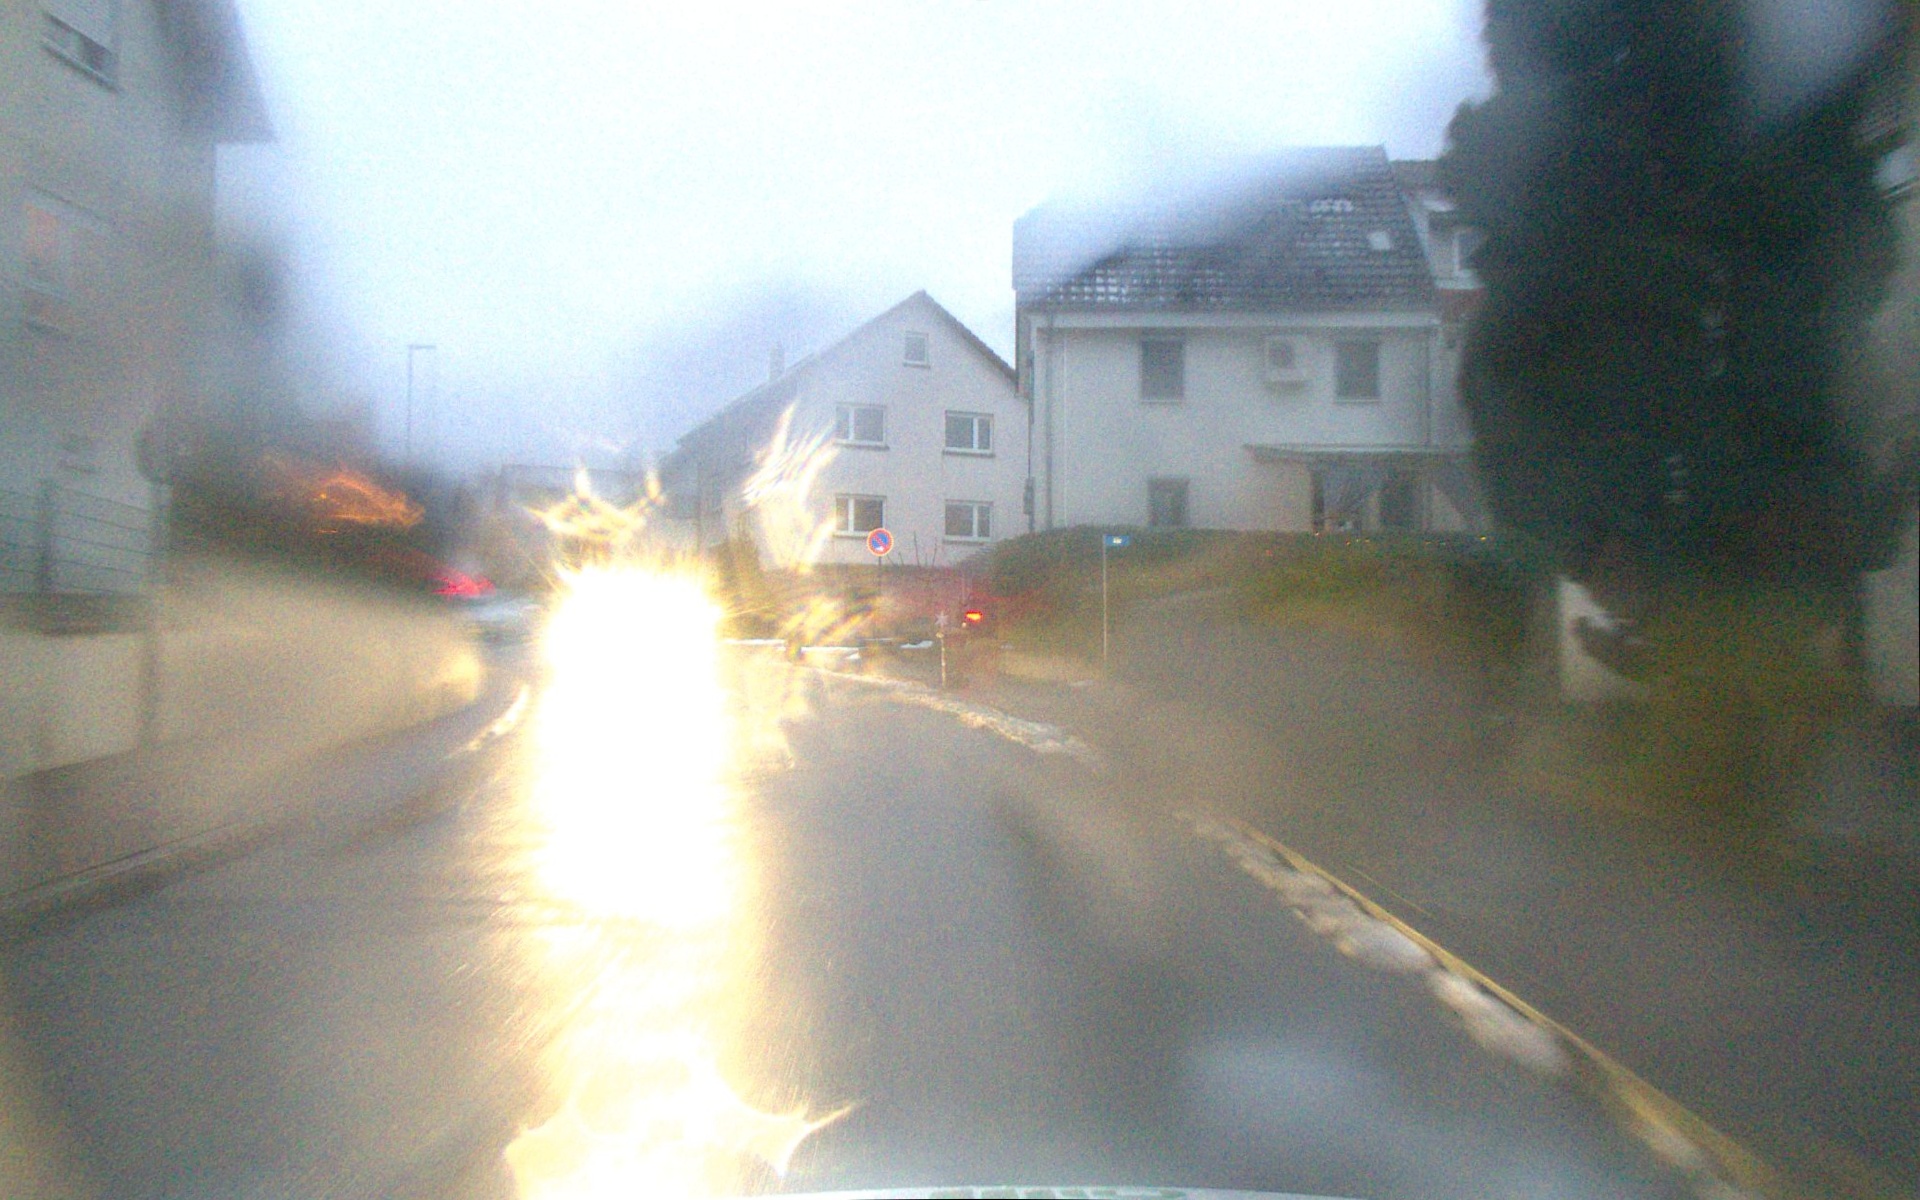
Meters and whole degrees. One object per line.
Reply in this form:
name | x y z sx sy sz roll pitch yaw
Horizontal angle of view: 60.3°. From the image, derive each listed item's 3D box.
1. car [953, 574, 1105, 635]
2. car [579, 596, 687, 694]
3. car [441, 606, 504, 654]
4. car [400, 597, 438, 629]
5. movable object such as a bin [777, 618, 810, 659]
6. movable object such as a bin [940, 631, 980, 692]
car | 1.941 0.136 47.250 3.922 1.646 1.991 1 0 -16
car | -7.393 0.964 37.798 2.070 2.062 4.974 0 0 -7
car | -15.463 0.921 52.357 1.595 1.463 3.633 0 0 -21
car | -27.709 0.660 84.663 1.660 1.612 4.148 0 0 -21
movable object such as a bin | -3.868 0.889 38.391 0.627 0.933 0.682 1 -1 -17
movable object such as a bin | -0.006 0.988 26.707 0.528 0.954 0.687 1 0 -11
